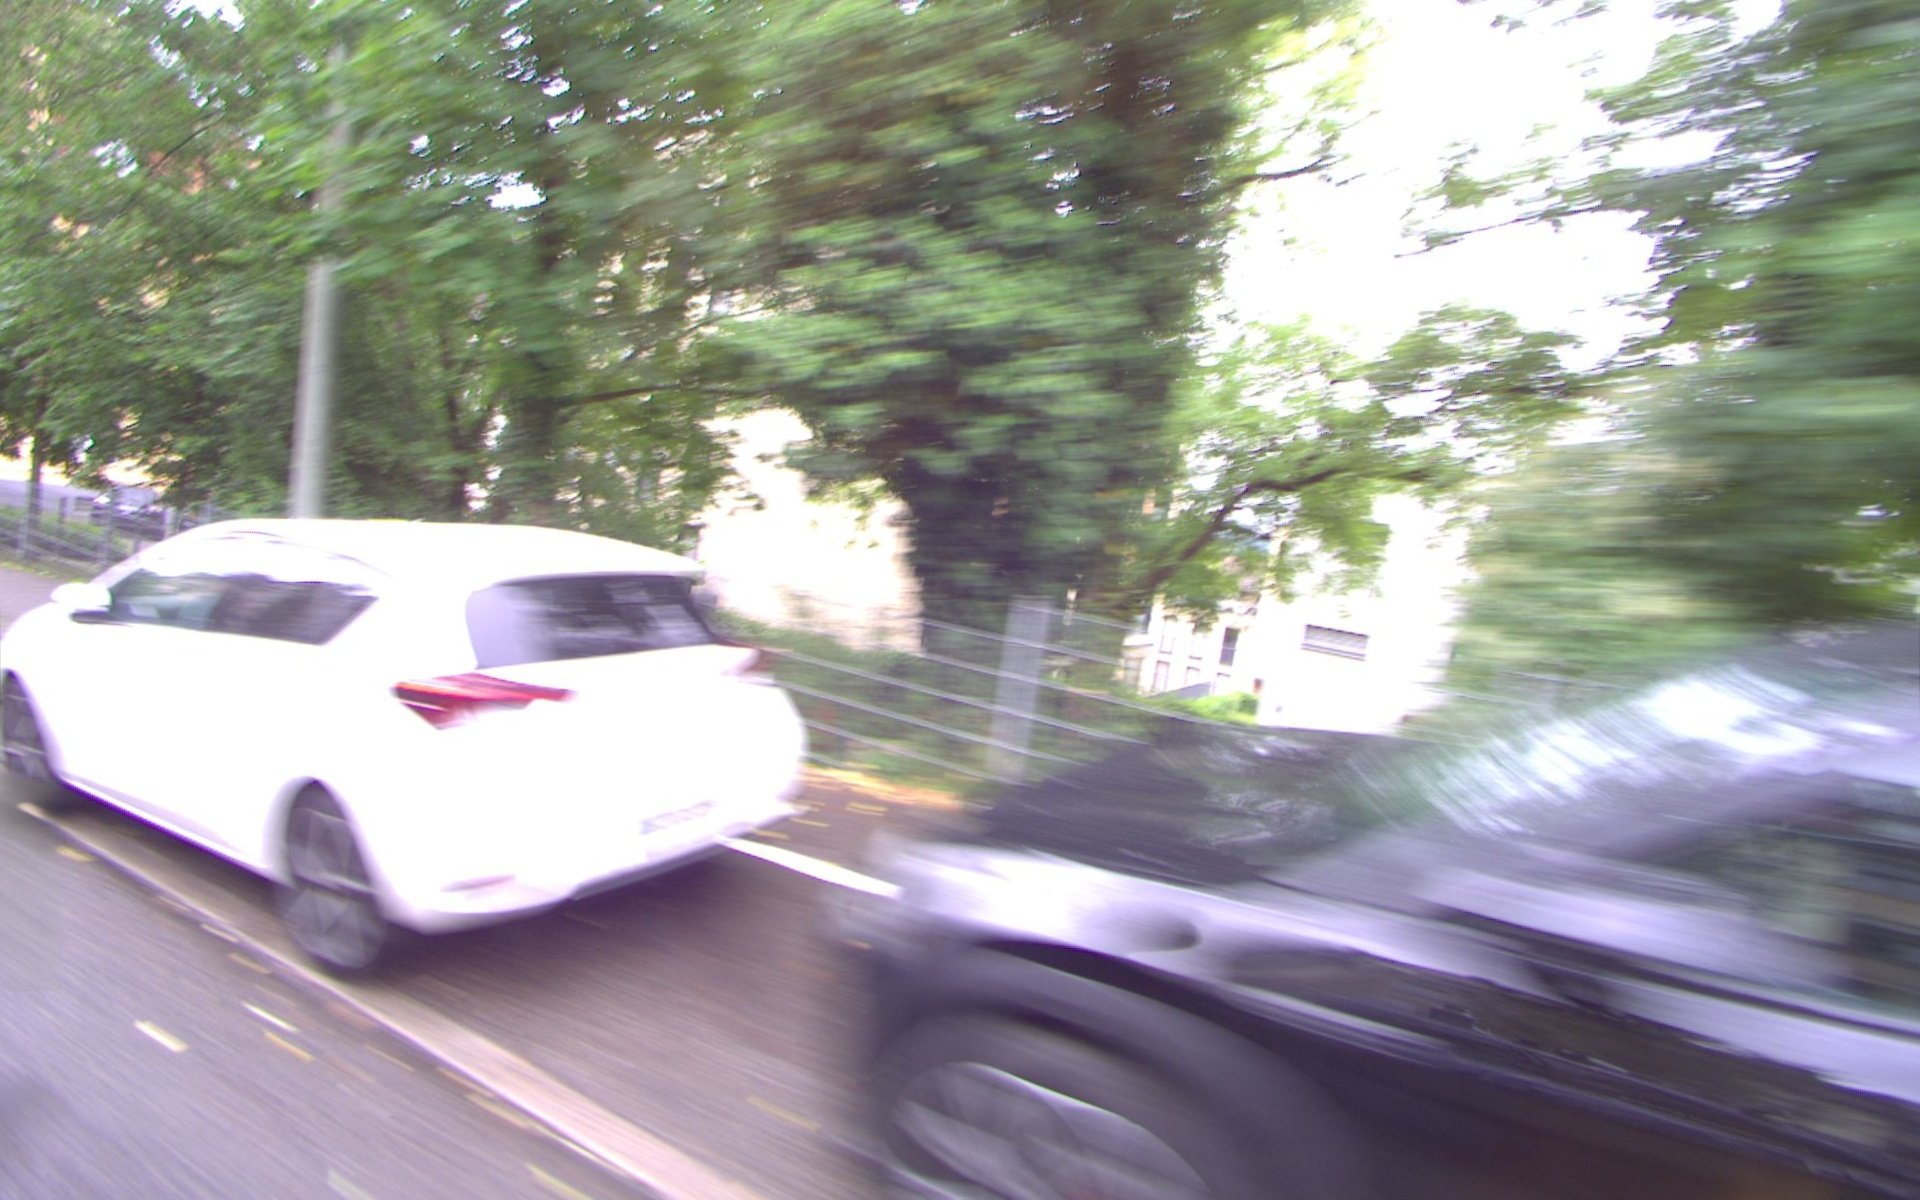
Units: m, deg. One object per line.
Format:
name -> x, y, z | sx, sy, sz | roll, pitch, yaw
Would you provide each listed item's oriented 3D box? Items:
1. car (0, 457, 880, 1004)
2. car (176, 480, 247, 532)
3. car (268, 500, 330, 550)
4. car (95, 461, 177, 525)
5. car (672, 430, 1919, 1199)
car -> -2.632, 0.217, 4.698 | 4.044, 1.473, 1.975 | 6, 4, 30
car -> -26.694, -3.391, 35.970 | 1.766, 1.448, 3.747 | 8, 2, -35
car -> -25.380, -2.889, 38.581 | 1.766, 1.448, 3.747 | 8, 2, -35
car -> -27.302, -3.584, 33.417 | 1.767, 1.688, 3.745 | 7, 2, -37
car -> 1.774, 0.659, 1.886 | 4.411, 1.632, 1.974 | 7, 4, 33
